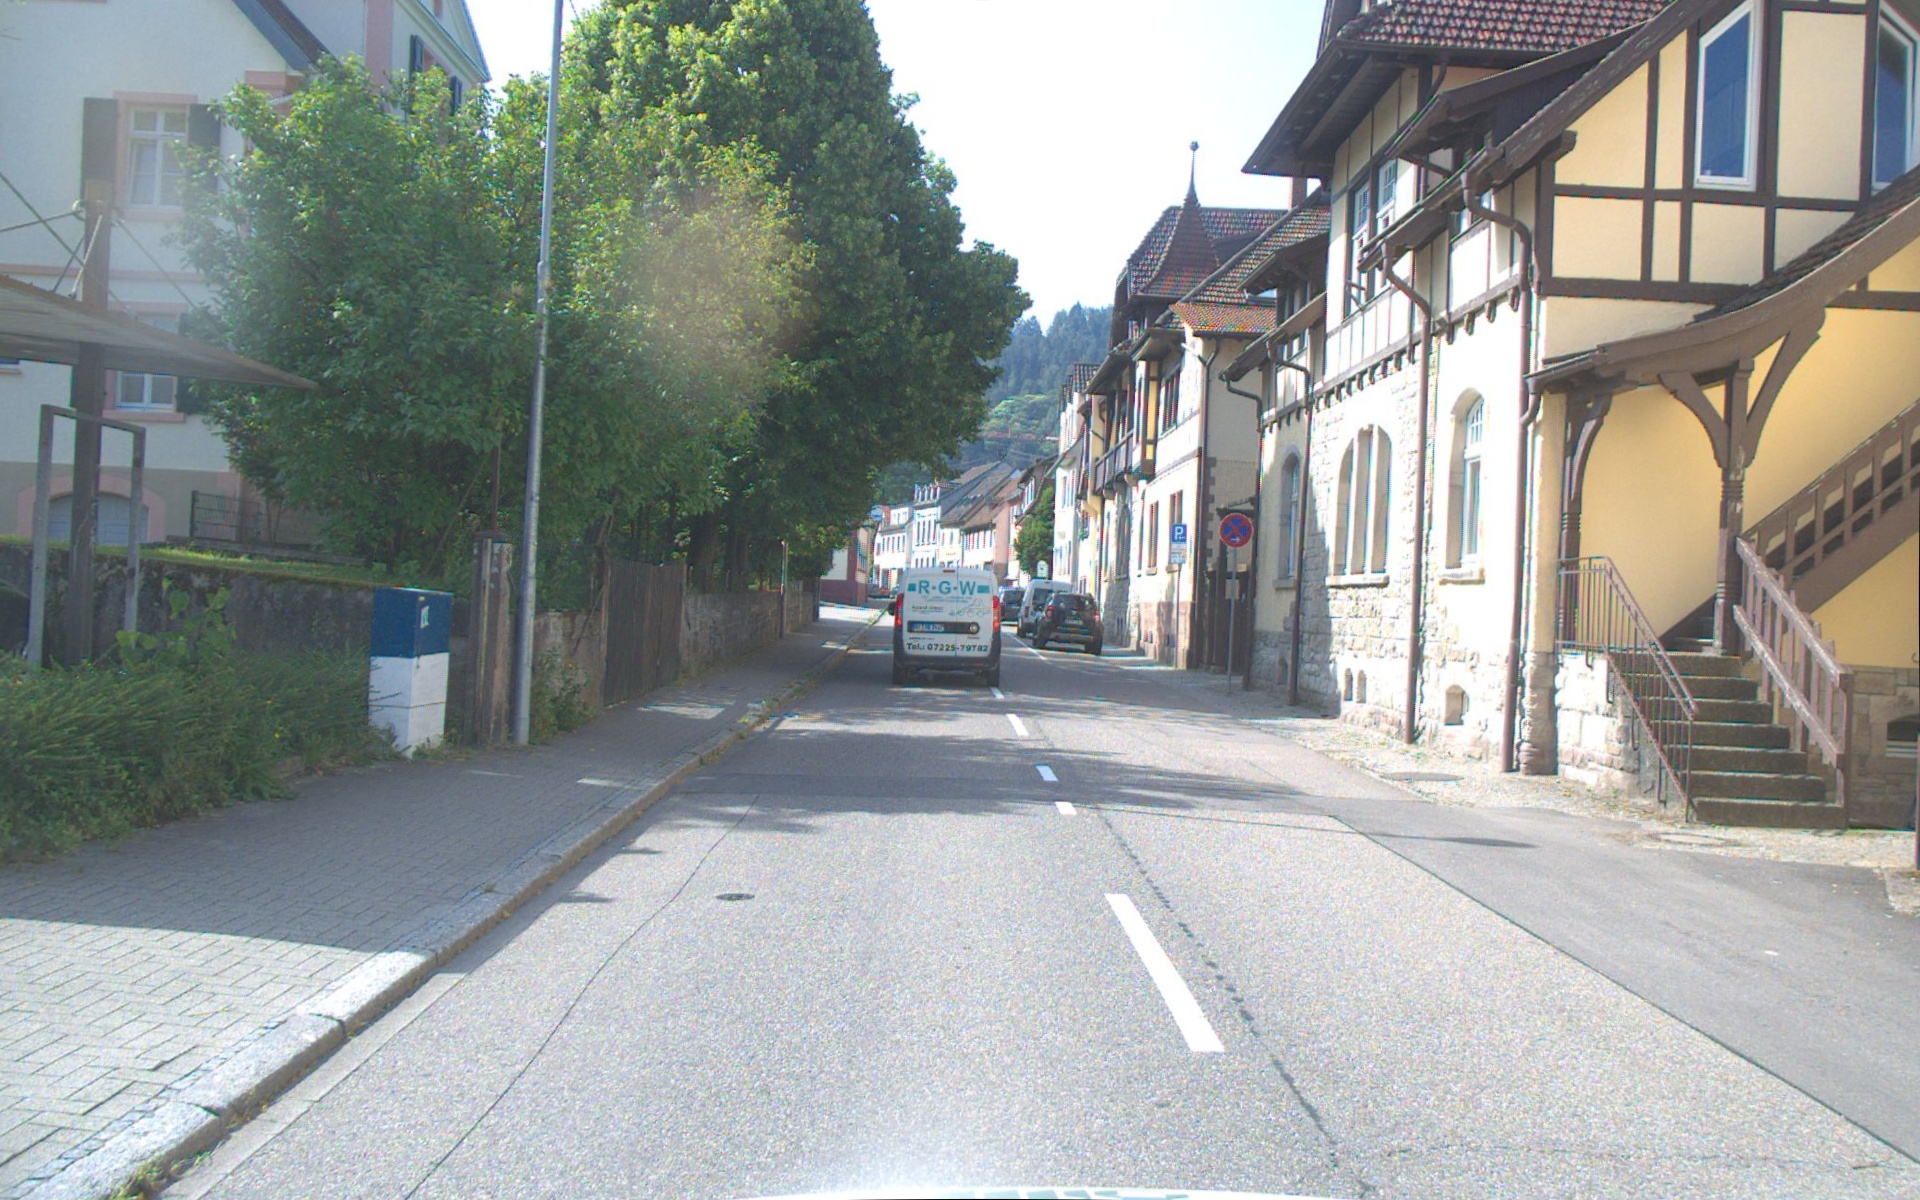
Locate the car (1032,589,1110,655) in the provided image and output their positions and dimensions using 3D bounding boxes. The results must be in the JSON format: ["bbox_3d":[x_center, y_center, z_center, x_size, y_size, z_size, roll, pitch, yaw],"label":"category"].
[{"bbox_3d":[3.080,0.569,46.610,1.774,1.624,3.926,5,0,-1],"label":"car"}]

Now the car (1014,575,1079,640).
[{"bbox_3d":[2.920,0.239,56.793,1.833,2.048,3.999,3,0,-1],"label":"car"}]

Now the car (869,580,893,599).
[{"bbox_3d":[-7.910,-1.052,165.983,1.740,1.830,3.988,3,0,-12],"label":"car"}]

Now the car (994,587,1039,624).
[{"bbox_3d":[2.481,0.244,73.196,1.636,1.534,3.998,2,0,-3],"label":"car"}]

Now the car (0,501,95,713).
[{"bbox_3d":[-7.488,0.004,10.557,1.583,1.487,4.393,5,1,-1],"label":"car"}]

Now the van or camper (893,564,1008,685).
[{"bbox_3d":[-0.215,0.349,27.745,1.791,1.876,4.187,0,1,-2],"label":"van or camper"}]

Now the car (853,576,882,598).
[{"bbox_3d":[-8.805,-1.217,157.514,1.960,1.813,3.987,5,1,-13],"label":"car"}]
